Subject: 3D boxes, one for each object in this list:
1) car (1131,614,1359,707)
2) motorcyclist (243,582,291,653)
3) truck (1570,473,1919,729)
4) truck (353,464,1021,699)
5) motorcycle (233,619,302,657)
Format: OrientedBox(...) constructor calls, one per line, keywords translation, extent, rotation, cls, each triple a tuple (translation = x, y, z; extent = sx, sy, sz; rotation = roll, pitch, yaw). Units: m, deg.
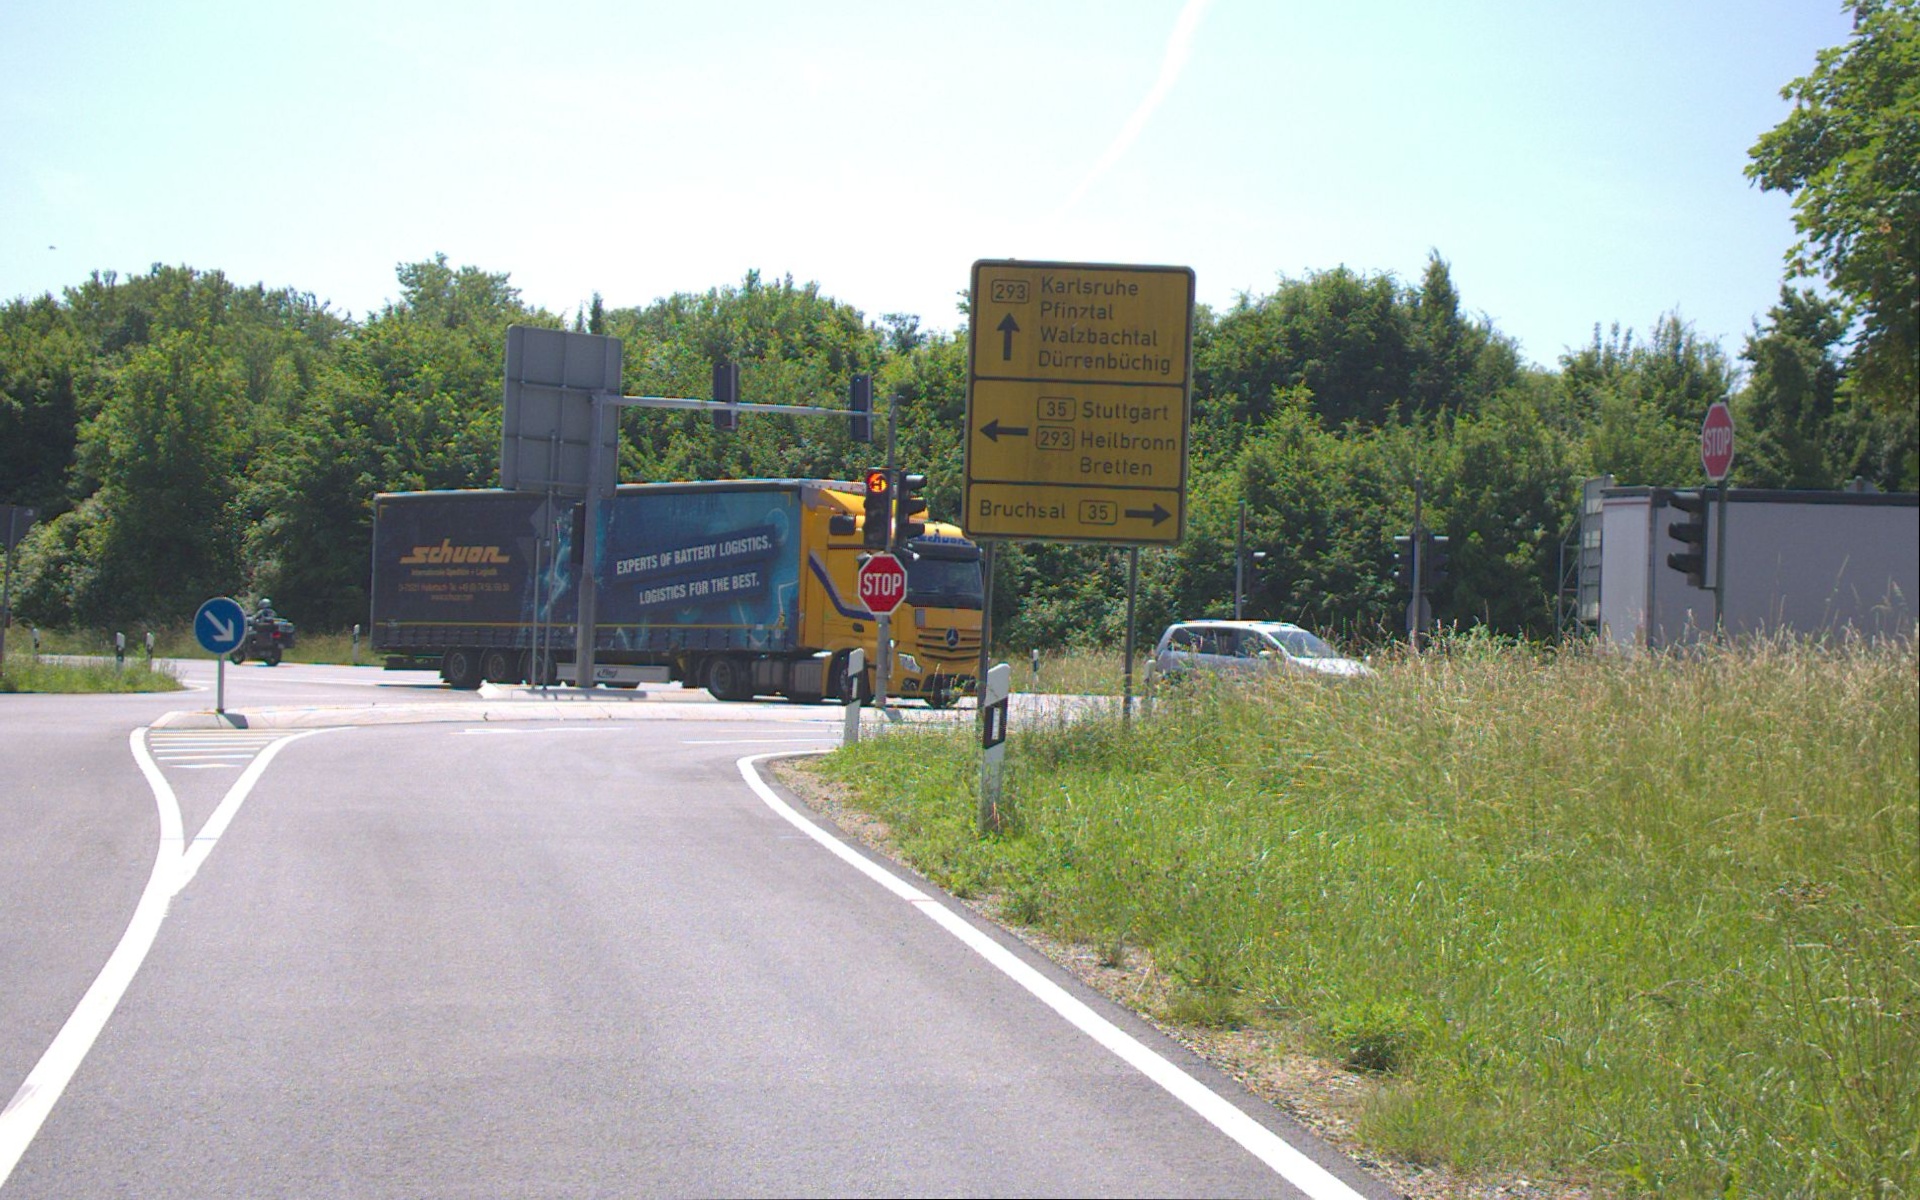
OrientedBox(translation=(4.994, 1.046, 60.513), extent=(3.686, 1.570, 1.721), rotation=(0, 0, 42), cls="car")
OrientedBox(translation=(-18.072, 0.448, 89.684), extent=(0.898, 1.837, 0.837), rotation=(-1, -1, 37), cls="motorcyclist")
OrientedBox(translation=(19.062, 0.119, 59.154), extent=(16.627, 4.159, 3.136), rotation=(1, 0, -7), cls="truck")
OrientedBox(translation=(-5.839, -0.432, 67.374), extent=(2.844, 4.117, 16.802), rotation=(2, -1, -44), cls="truck")
OrientedBox(translation=(-18.079, 0.995, 89.739), extent=(1.870, 0.960, 0.729), rotation=(-1, -1, 39), cls="motorcycle")
